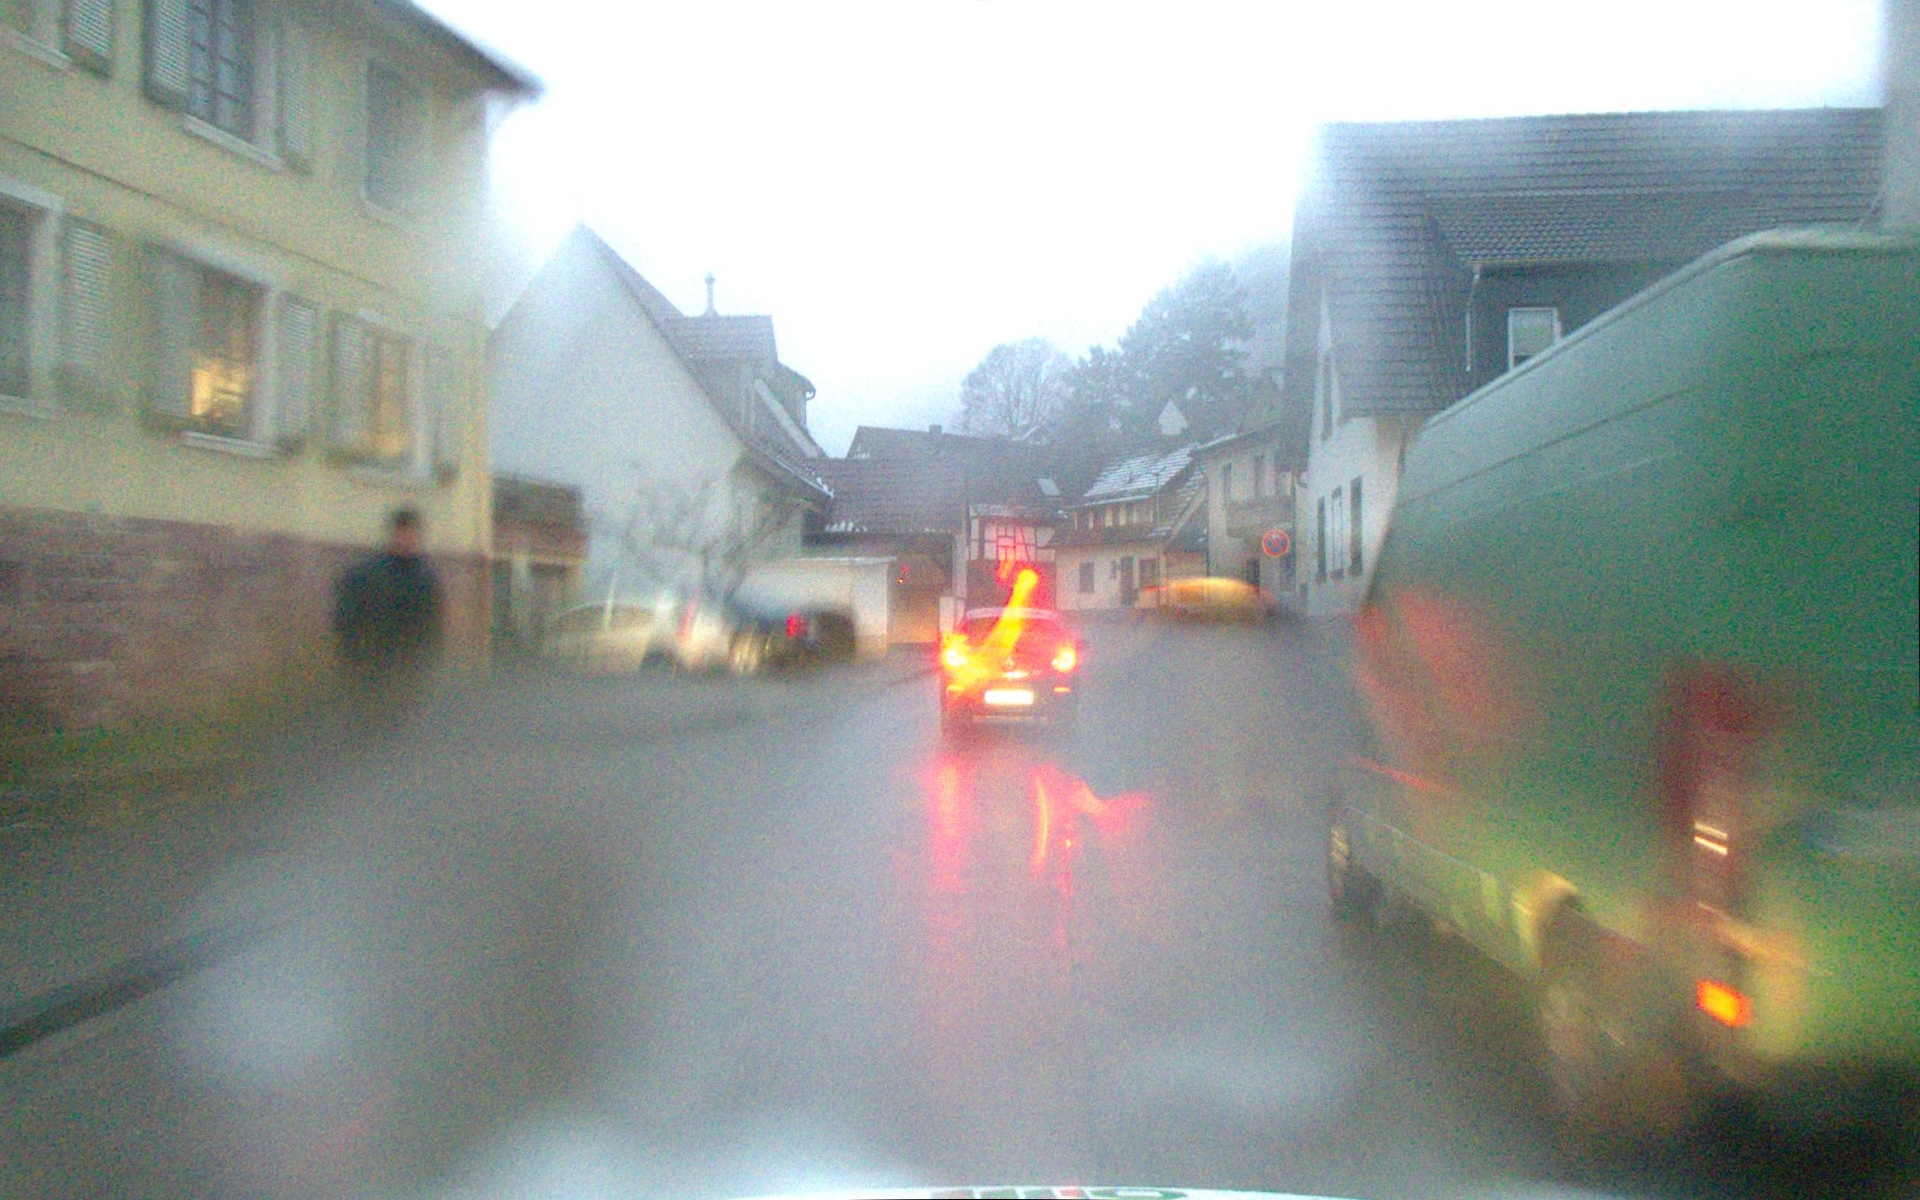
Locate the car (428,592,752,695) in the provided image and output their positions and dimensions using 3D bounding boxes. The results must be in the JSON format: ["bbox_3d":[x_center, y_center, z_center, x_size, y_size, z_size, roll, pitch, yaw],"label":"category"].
[{"bbox_3d":[-5.681,0.660,25.632,4.504,1.496,1.893,-1,0,10],"label":"car"}]

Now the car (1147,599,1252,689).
[{"bbox_3d":[4.272,0.739,29.958,1.603,1.497,4.002,1,0,4],"label":"car"}]

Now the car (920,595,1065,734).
[{"bbox_3d":[0.473,0.702,19.968,1.513,1.491,3.701,1,0,5],"label":"car"}]

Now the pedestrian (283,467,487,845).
[{"bbox_3d":[-3.281,0.307,9.509,0.767,2.049,0.870,1,-1,5],"label":"pedestrian"}]

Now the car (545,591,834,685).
[{"bbox_3d":[-4.569,0.630,28.322,4.496,1.496,2.001,-1,0,6],"label":"car"}]

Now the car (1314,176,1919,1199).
[{"bbox_3d":[2.848,0.290,6.525,1.967,2.497,5.617,1,0,3],"label":"car"}]
